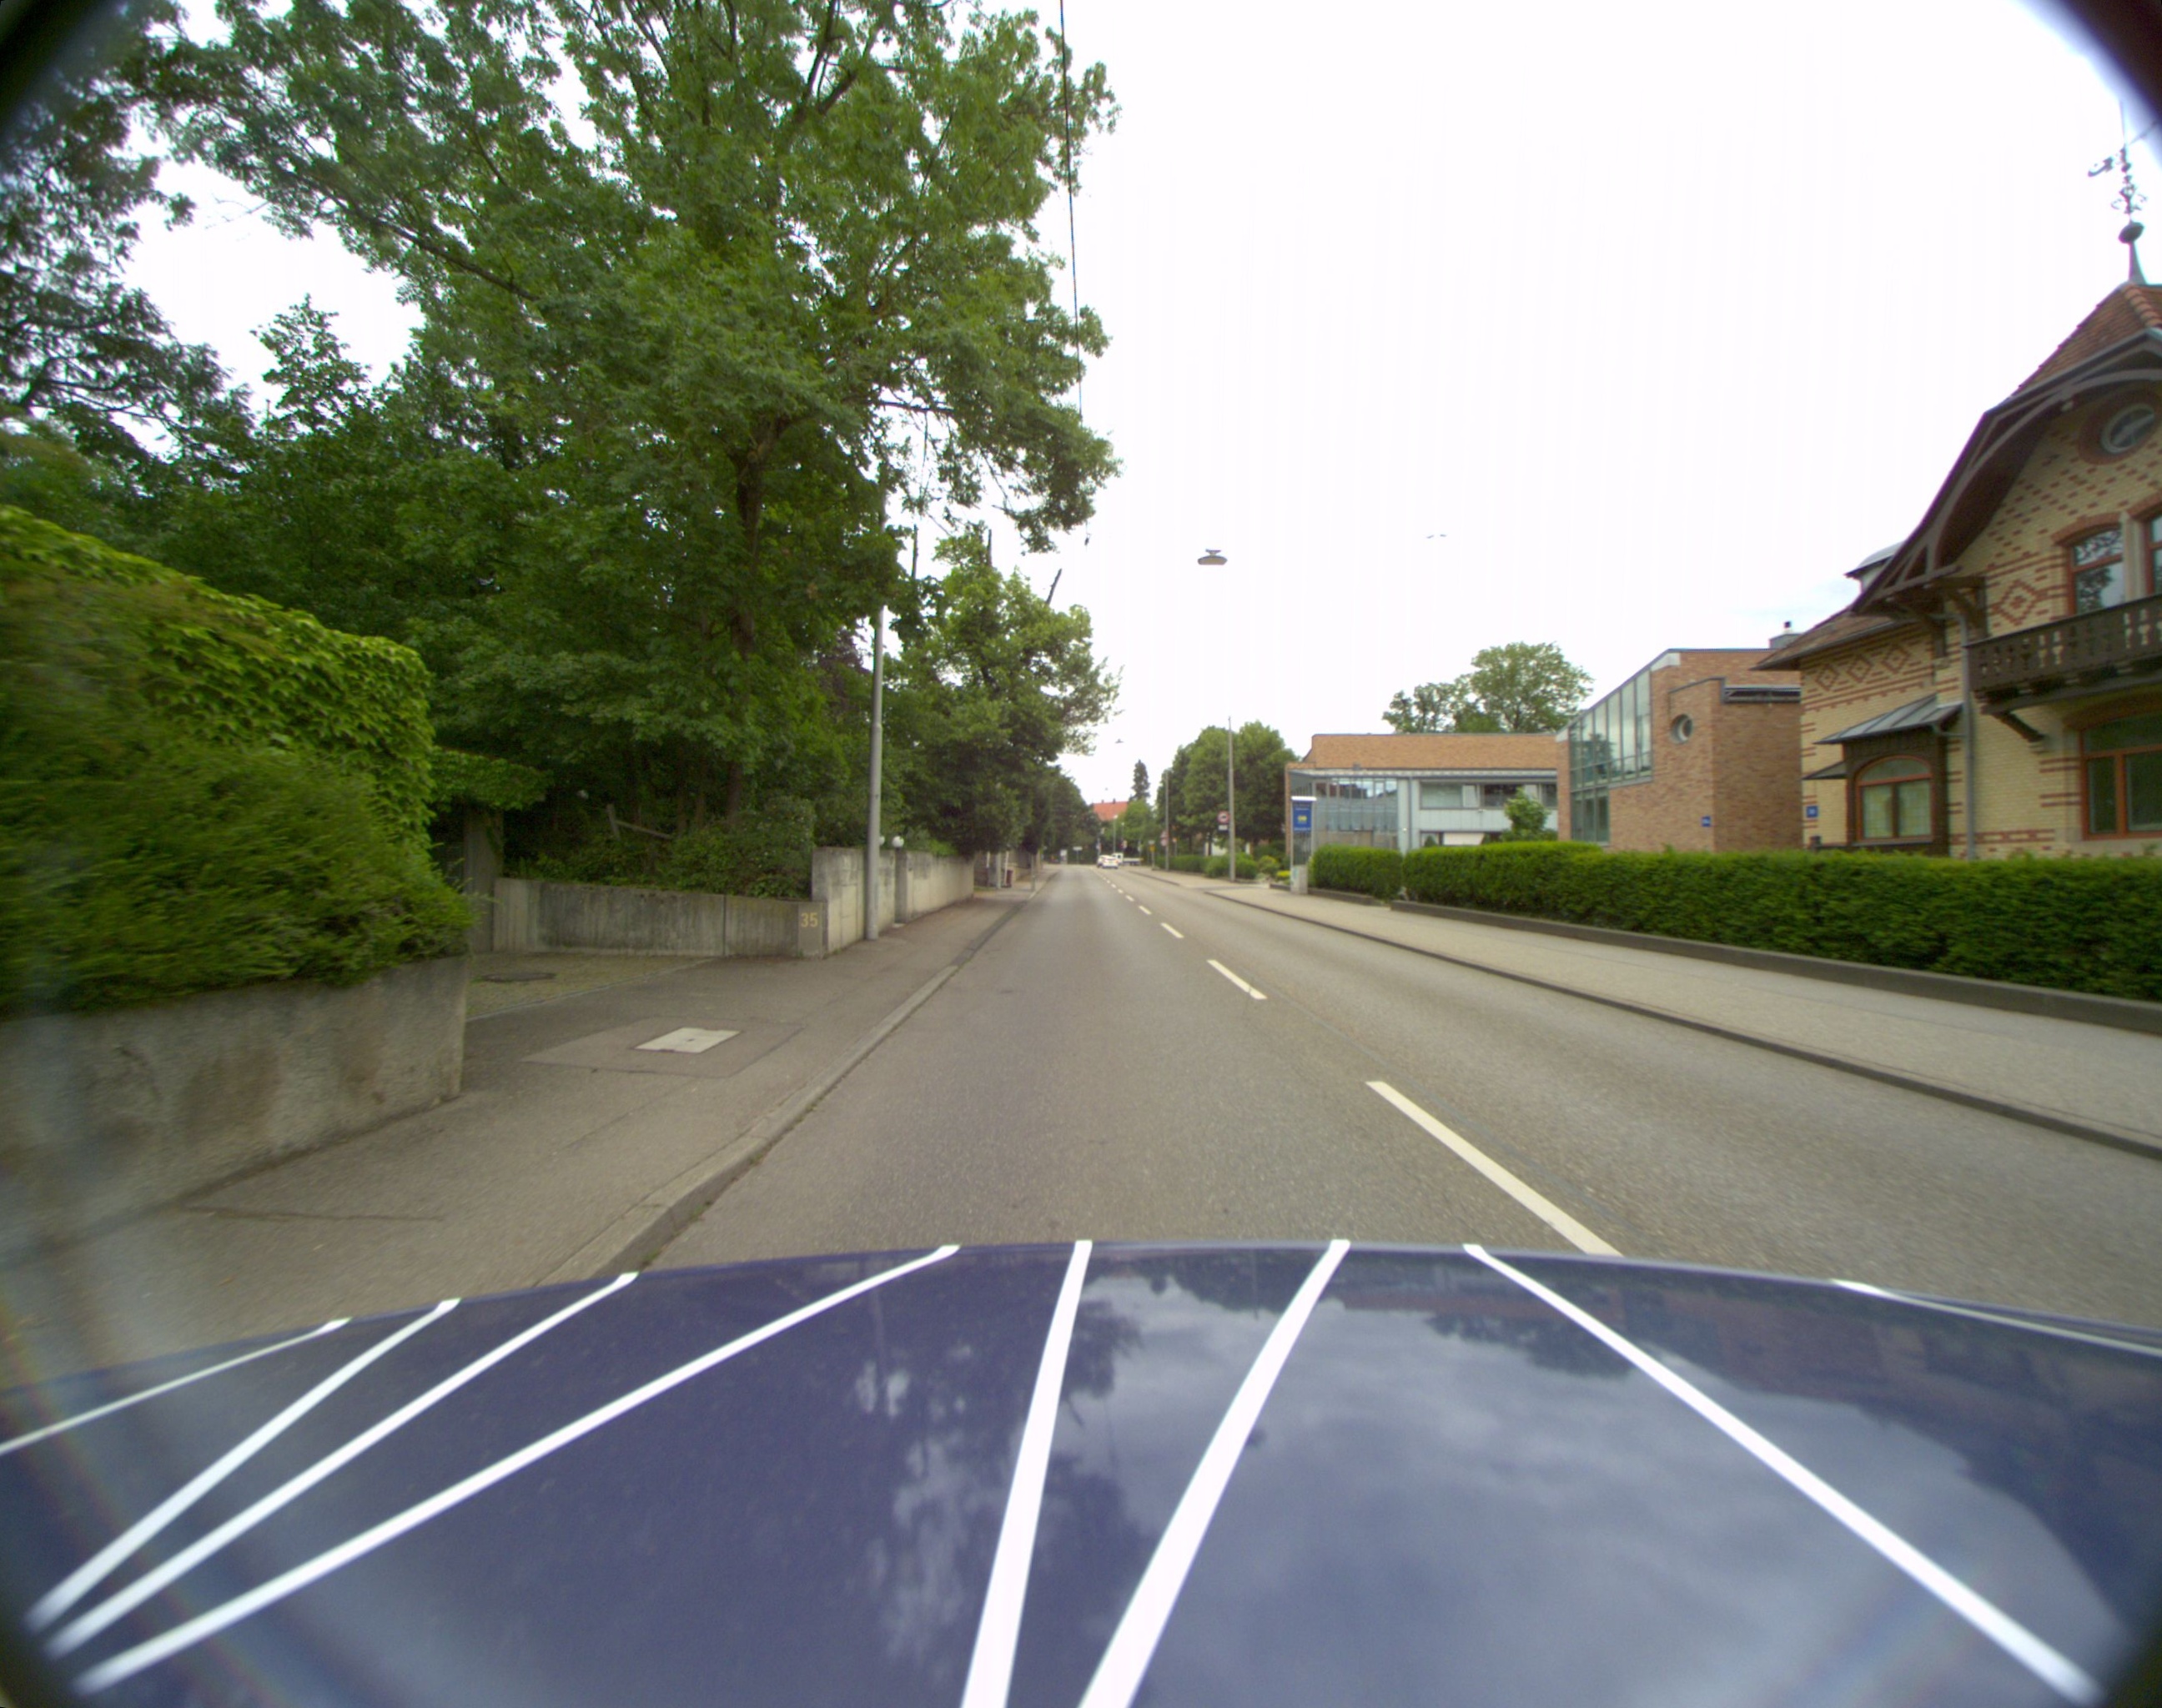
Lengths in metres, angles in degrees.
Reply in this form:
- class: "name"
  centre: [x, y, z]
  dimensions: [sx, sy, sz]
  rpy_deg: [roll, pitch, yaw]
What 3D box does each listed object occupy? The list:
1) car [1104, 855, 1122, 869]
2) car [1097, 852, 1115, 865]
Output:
- class: "car"
  centre: [3.930, 0.971, 94.064]
  dimensions: [1.998, 1.701, 4.000]
  rpy_deg: [0, 0, 0]
- class: "car"
  centre: [3.316, 0.645, 100.814]
  dimensions: [1.999, 1.701, 3.998]
  rpy_deg: [0, 0, -5]
